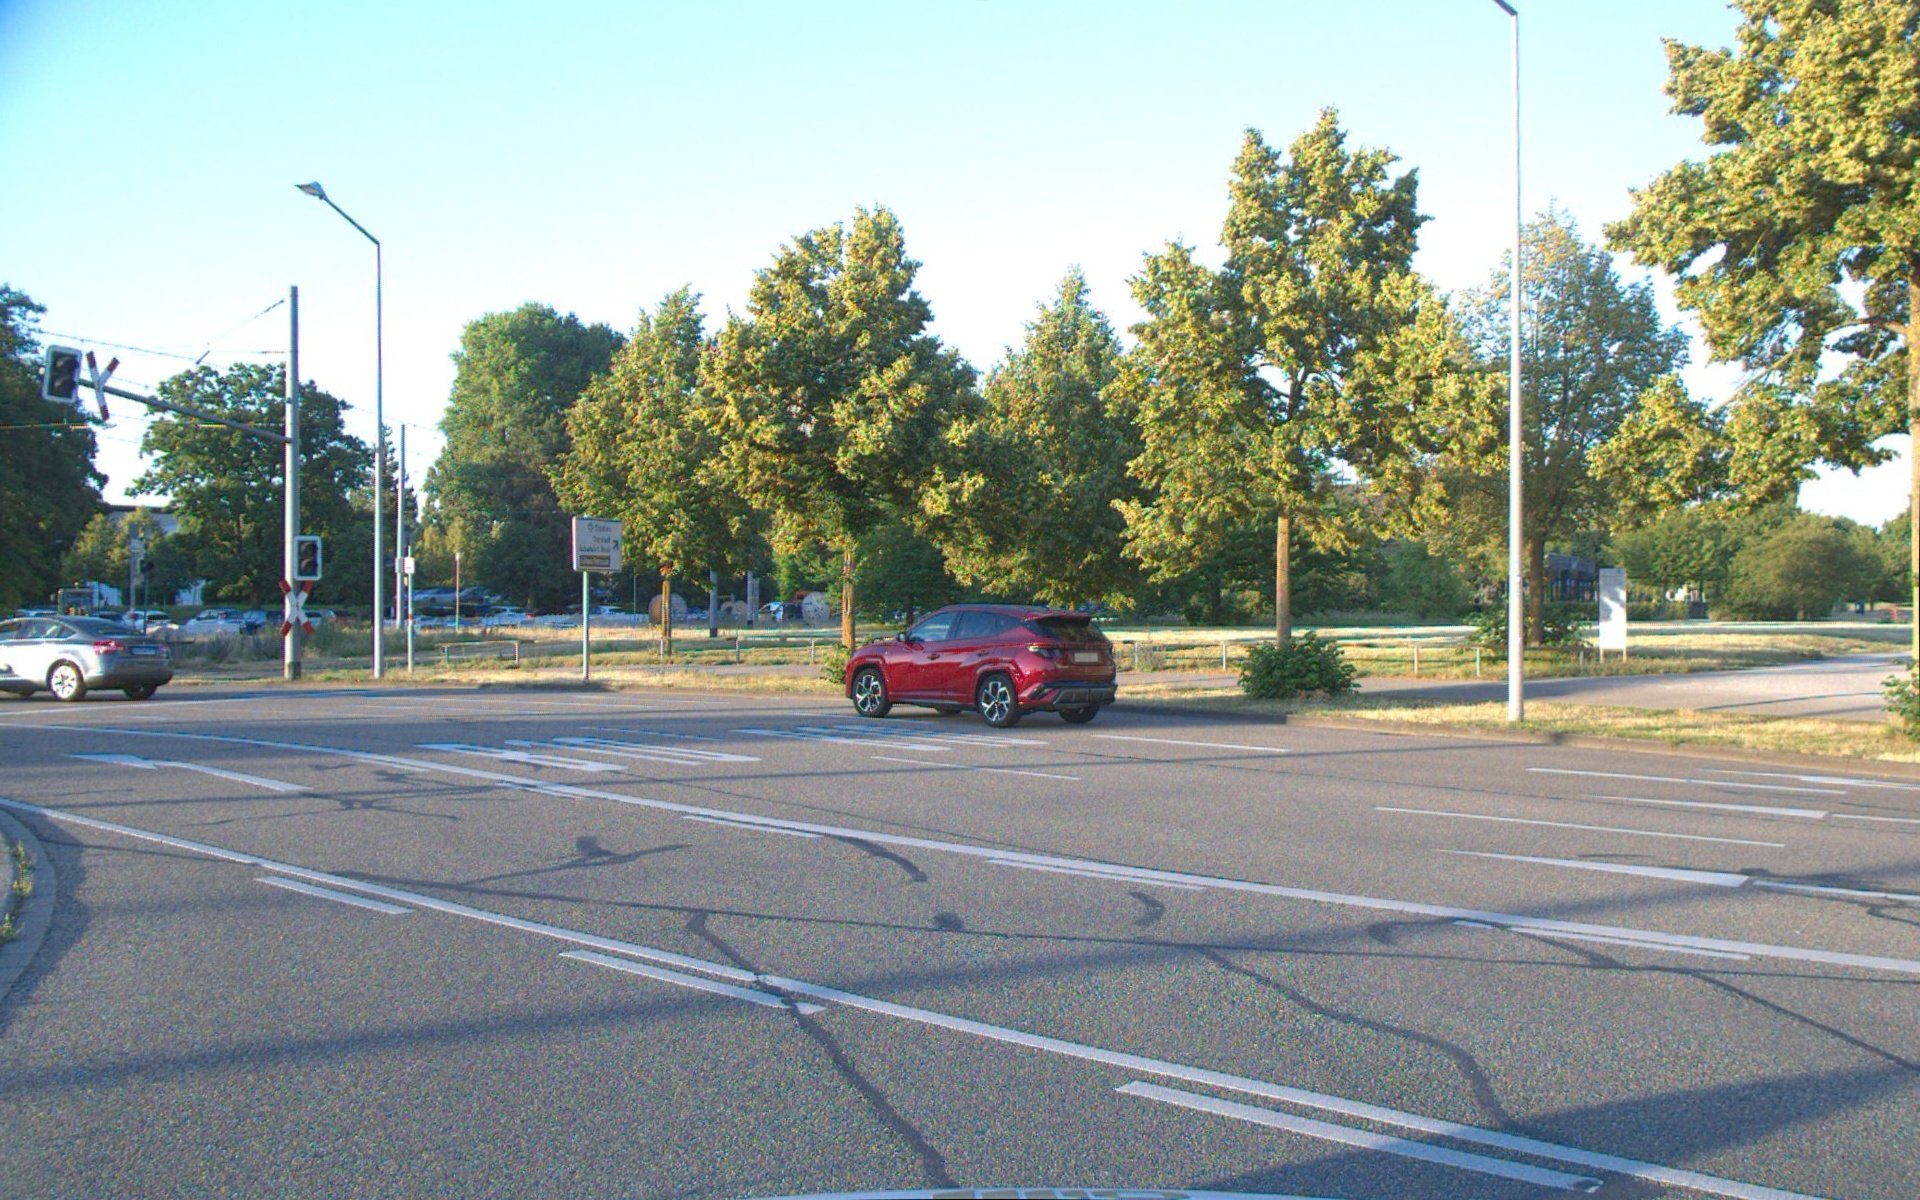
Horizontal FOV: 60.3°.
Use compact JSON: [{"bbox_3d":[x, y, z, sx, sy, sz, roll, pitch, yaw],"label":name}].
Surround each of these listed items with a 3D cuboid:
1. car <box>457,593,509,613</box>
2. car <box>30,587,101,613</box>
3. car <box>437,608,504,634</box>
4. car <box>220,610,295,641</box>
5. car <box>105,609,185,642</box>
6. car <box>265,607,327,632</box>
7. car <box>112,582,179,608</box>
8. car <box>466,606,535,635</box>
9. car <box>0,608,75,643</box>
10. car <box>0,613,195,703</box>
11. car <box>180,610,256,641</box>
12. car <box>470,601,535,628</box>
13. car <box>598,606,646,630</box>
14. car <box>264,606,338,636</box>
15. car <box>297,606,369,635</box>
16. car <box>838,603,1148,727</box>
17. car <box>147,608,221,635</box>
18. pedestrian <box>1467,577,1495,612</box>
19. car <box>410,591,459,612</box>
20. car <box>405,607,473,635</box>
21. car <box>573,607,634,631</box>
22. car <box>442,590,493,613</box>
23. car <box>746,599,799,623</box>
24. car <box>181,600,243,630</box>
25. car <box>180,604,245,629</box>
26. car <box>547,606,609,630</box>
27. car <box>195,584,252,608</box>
[{"bbox_3d":[-41.700,0.295,144.726,3.902,1.736,2.001,0,0,6],"label":"car"},{"bbox_3d":[-70.543,-0.026,130.464,1.956,2.049,4.590,0,0,29],"label":"car"},{"bbox_3d":[-30.984,1.321,104.688,3.915,1.632,1.995,0,0,32],"label":"car"},{"bbox_3d":[-39.095,1.394,92.046,3.915,1.632,1.995,0,0,32],"label":"car"},{"bbox_3d":[-42.262,1.313,85.789,3.915,1.632,1.995,0,0,32],"label":"car"},{"bbox_3d":[-45.825,1.318,114.113,3.933,1.691,1.889,0,0,-23],"label":"car"},{"bbox_3d":[-67.128,-0.415,136.339,1.958,2.049,4.585,0,0,33],"label":"car"},{"bbox_3d":[-32.533,1.439,117.158,4.499,2.049,1.996,0,0,-9],"label":"car"},{"bbox_3d":[-45.631,1.236,81.436,3.915,1.632,1.995,0,0,32],"label":"car"},{"bbox_3d":[-16.141,0.981,29.385,4.557,1.489,1.888,0,0,17],"label":"car"},{"bbox_3d":[-40.538,1.362,90.379,3.915,1.632,1.995,0,0,32],"label":"car"},{"bbox_3d":[-34.602,1.083,125.265,4.499,2.049,1.996,0,0,-9],"label":"car"},{"bbox_3d":[-26.374,1.391,128.883,1.979,1.782,4.538,0,1,-37],"label":"car"},{"bbox_3d":[-37.395,1.165,93.872,3.915,1.632,1.995,0,0,32],"label":"car"},{"bbox_3d":[-36.451,1.191,96.091,3.915,1.632,1.995,0,0,32],"label":"car"},{"bbox_3d":[0.401,0.850,23.873,1.986,1.601,4.342,0,0,-45],"label":"car"},{"bbox_3d":[-50.238,1.368,107.085,1.863,1.691,3.987,0,0,34],"label":"car"},{"bbox_3d":[24.487,-0.245,77.741,1.047,1.646,0.911,0,0,2],"label":"pedestrian"},{"bbox_3d":[-47.962,0.112,151.065,1.959,1.847,3.987,0,0,34],"label":"car"},{"bbox_3d":[-32.318,1.289,102.551,3.915,1.632,1.995,0,0,32],"label":"car"},{"bbox_3d":[-24.909,1.320,115.427,3.915,1.632,1.995,0,0,32],"label":"car"},{"bbox_3d":[-44.100,0.109,148.238,1.963,2.049,3.979,0,0,40],"label":"car"},{"bbox_3d":[-13.011,0.759,114.677,1.724,1.646,3.940,0,0,-41],"label":"car"},{"bbox_3d":[-52.478,1.035,116.028,3.939,2.049,1.983,0,0,-27],"label":"car"},{"bbox_3d":[-50.569,1.107,111.872,3.939,1.691,1.983,0,0,-27],"label":"car"},{"bbox_3d":[-26.278,1.235,113.678,3.915,1.632,1.995,0,0,32],"label":"car"},{"bbox_3d":[-63.386,-0.327,142.361,1.958,2.049,4.105,0,0,33],"label":"car"}]
